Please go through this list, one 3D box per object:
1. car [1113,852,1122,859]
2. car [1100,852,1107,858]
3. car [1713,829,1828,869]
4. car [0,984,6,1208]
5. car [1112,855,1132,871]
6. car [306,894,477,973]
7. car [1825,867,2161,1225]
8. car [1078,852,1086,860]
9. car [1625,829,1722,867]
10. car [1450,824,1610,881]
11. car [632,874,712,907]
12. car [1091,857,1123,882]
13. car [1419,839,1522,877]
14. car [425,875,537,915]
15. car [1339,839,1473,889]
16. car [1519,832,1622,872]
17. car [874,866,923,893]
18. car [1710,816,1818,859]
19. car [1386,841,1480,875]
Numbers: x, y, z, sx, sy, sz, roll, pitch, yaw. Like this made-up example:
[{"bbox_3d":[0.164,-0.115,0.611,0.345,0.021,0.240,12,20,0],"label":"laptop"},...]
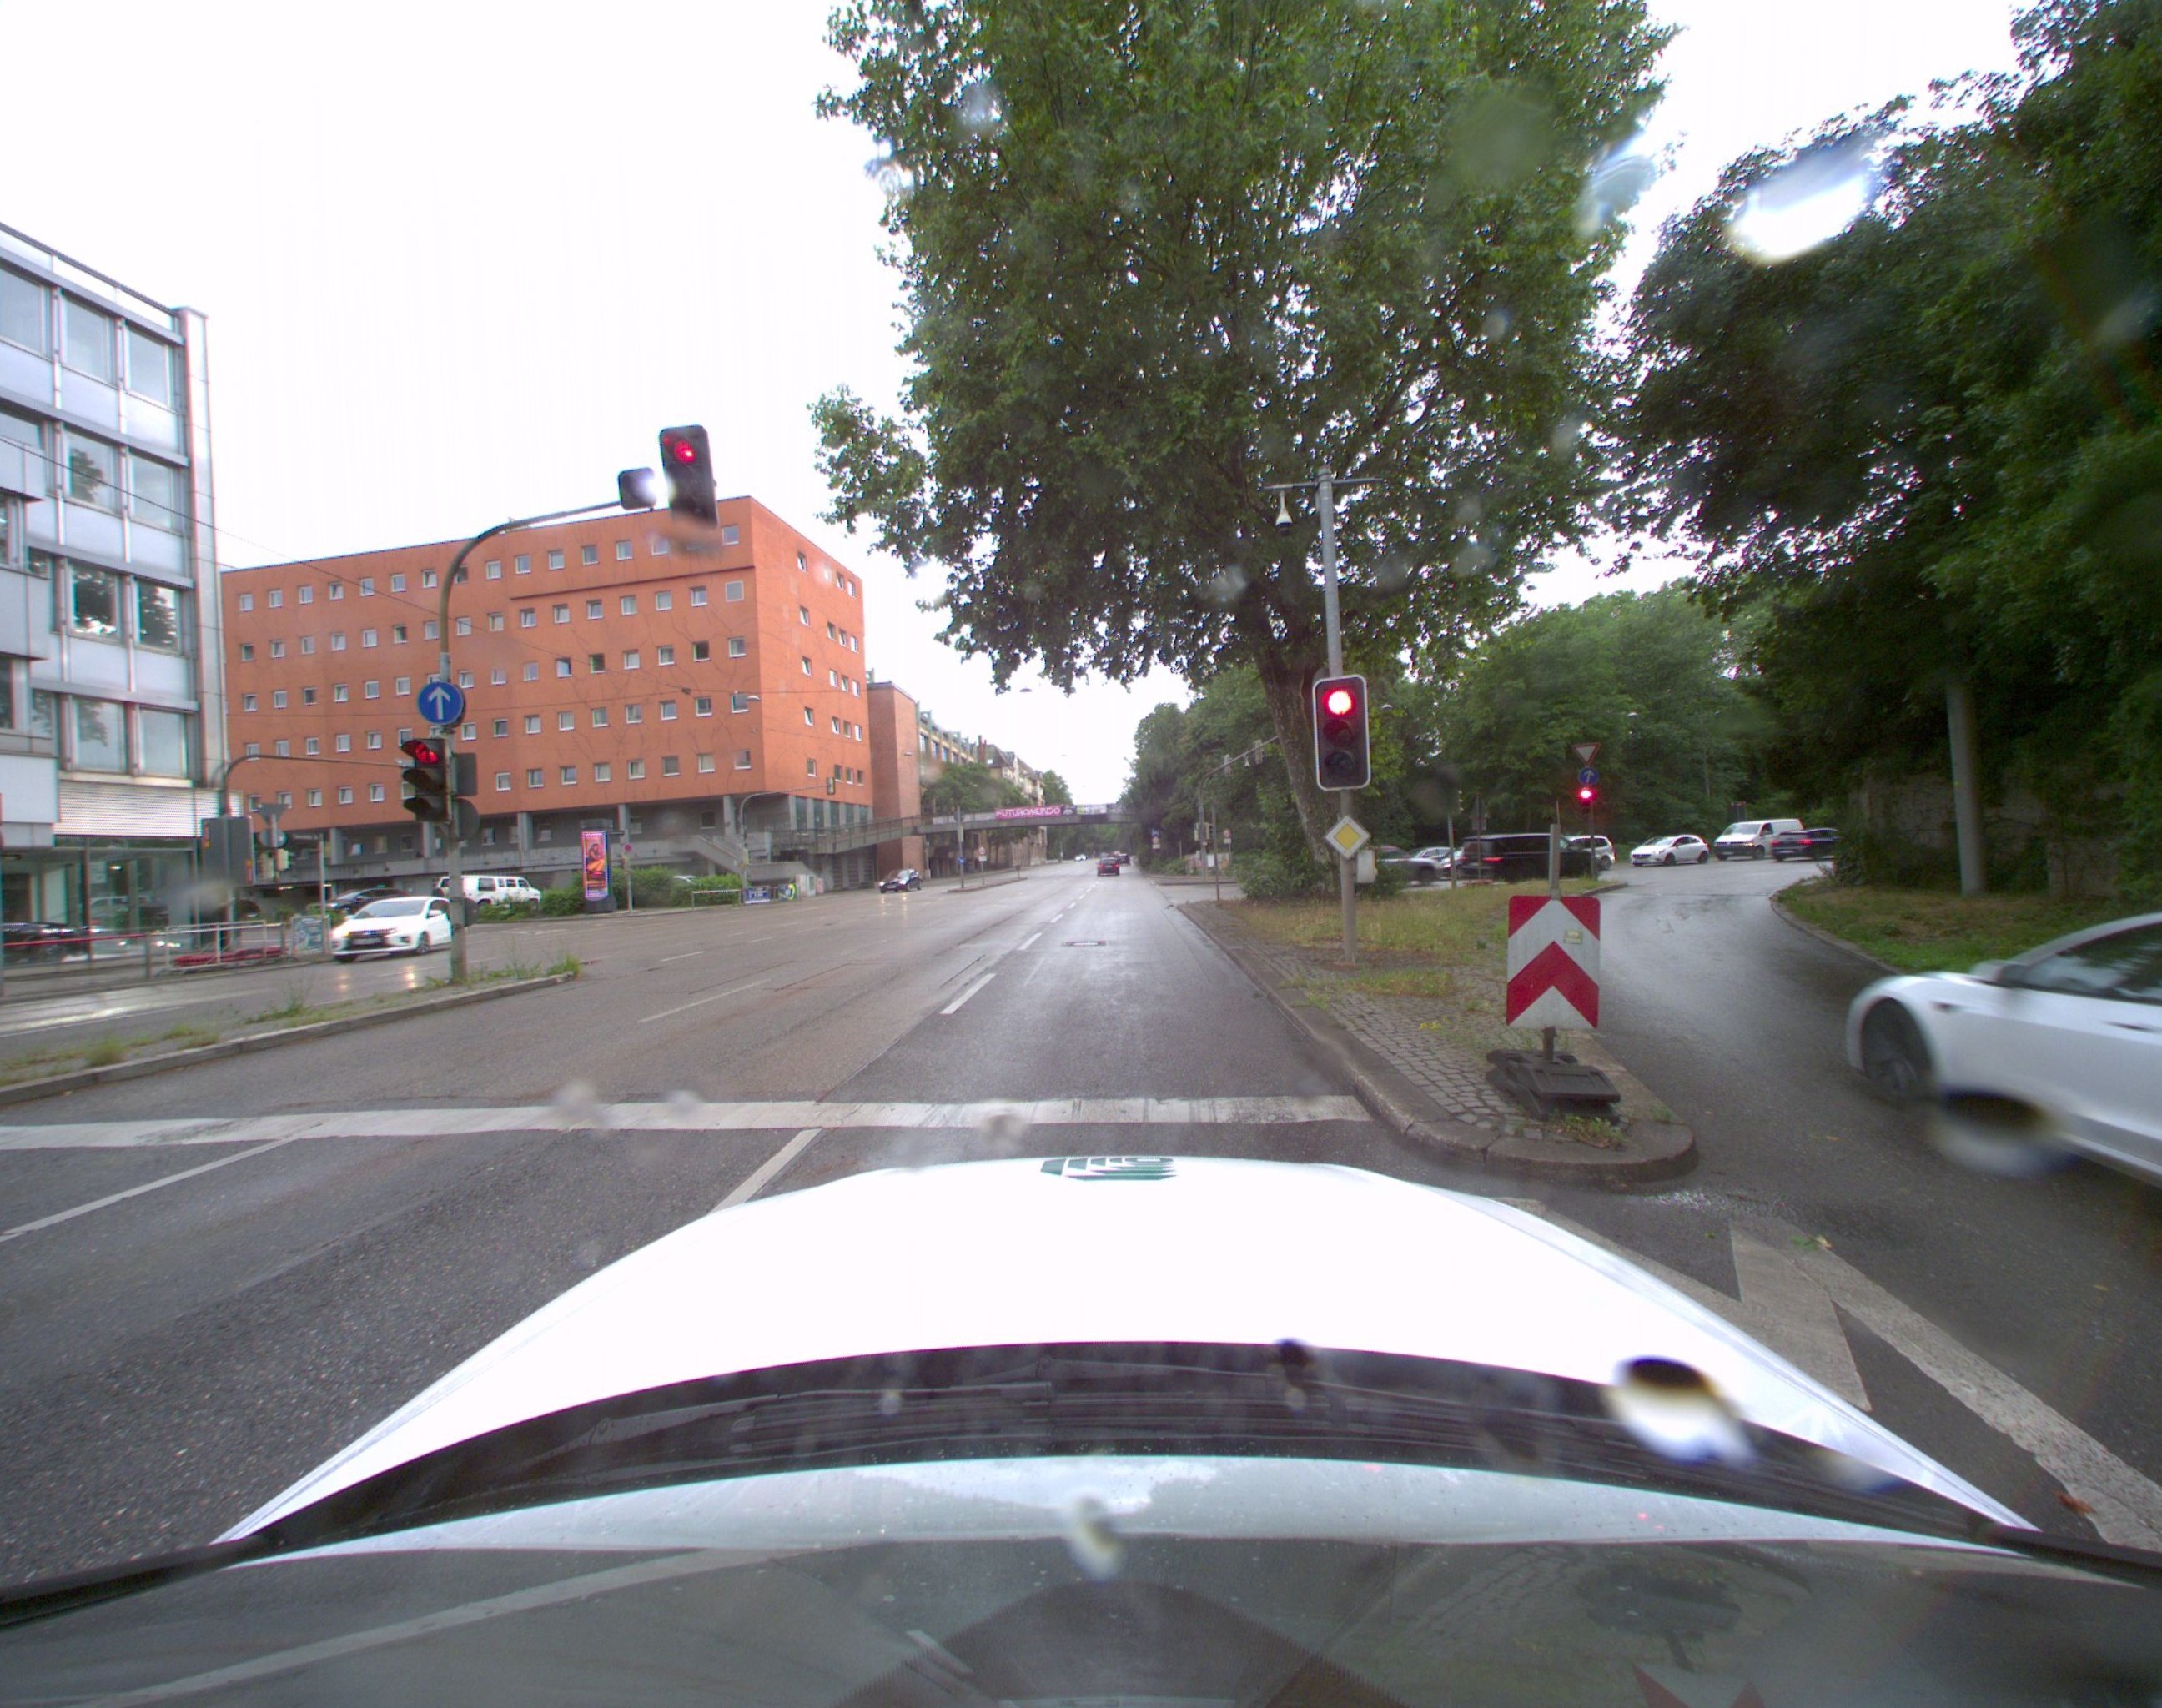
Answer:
[{"bbox_3d":[9.647,0.382,214.864,2.114,1.735,4.197,-1,0,-1],"label":"car"},{"bbox_3d":[6.233,0.245,229.180,1.757,1.697,3.707,-5,-1,2],"label":"car"},{"bbox_3d":[31.179,-0.235,36.878,4.133,1.446,1.580,-5,-1,-8],"label":"car"},{"bbox_3d":[-6.089,0.848,1.443,1.938,1.597,4.677,-1,1,5],"label":"car"},{"bbox_3d":[5.355,1.167,106.236,2.124,1.836,4.348,-5,-1,-3],"label":"car"},{"bbox_3d":[-17.616,1.933,21.127,2.003,1.637,4.786,-4,-1,-24],"label":"car"},{"bbox_3d":[5.308,0.805,3.207,1.821,1.432,4.291,1,0,17],"label":"car"},{"bbox_3d":[0.222,0.498,208.560,1.757,1.925,3.707,-5,-1,2],"label":"car"},{"bbox_3d":[28.952,-0.305,39.789,3.999,1.486,1.763,-4,-1,-18],"label":"car"},{"bbox_3d":[16.207,-0.062,29.459,5.085,1.846,1.990,-2,-1,-15],"label":"car"},{"bbox_3d":[-25.184,2.252,50.227,3.988,1.618,1.900,-5,-1,11],"label":"car"},{"bbox_3d":[2.097,1.303,67.112,2.124,1.836,4.348,-5,-1,-3],"label":"car"},{"bbox_3d":[17.143,0.189,35.904,3.859,1.485,1.665,-2,-1,-14],"label":"car"},{"bbox_3d":[-32.792,2.186,44.716,1.982,2.014,4.864,1,-1,9],"label":"car"},{"bbox_3d":[12.782,0.387,32.128,4.506,1.637,1.876,-4,0,-7],"label":"car"},{"bbox_3d":[22.647,-0.099,37.706,4.276,1.486,1.762,-4,-1,-21],"label":"car"},{"bbox_3d":[-11.416,1.558,51.203,1.986,1.519,4.002,-3,-1,2],"label":"car"},{"bbox_3d":[34.884,-0.853,41.620,4.858,1.922,1.897,-3,-1,-18],"label":"car"},{"bbox_3d":[17.287,0.222,40.068,3.998,1.486,1.867,-2,-1,-18],"label":"car"}]
